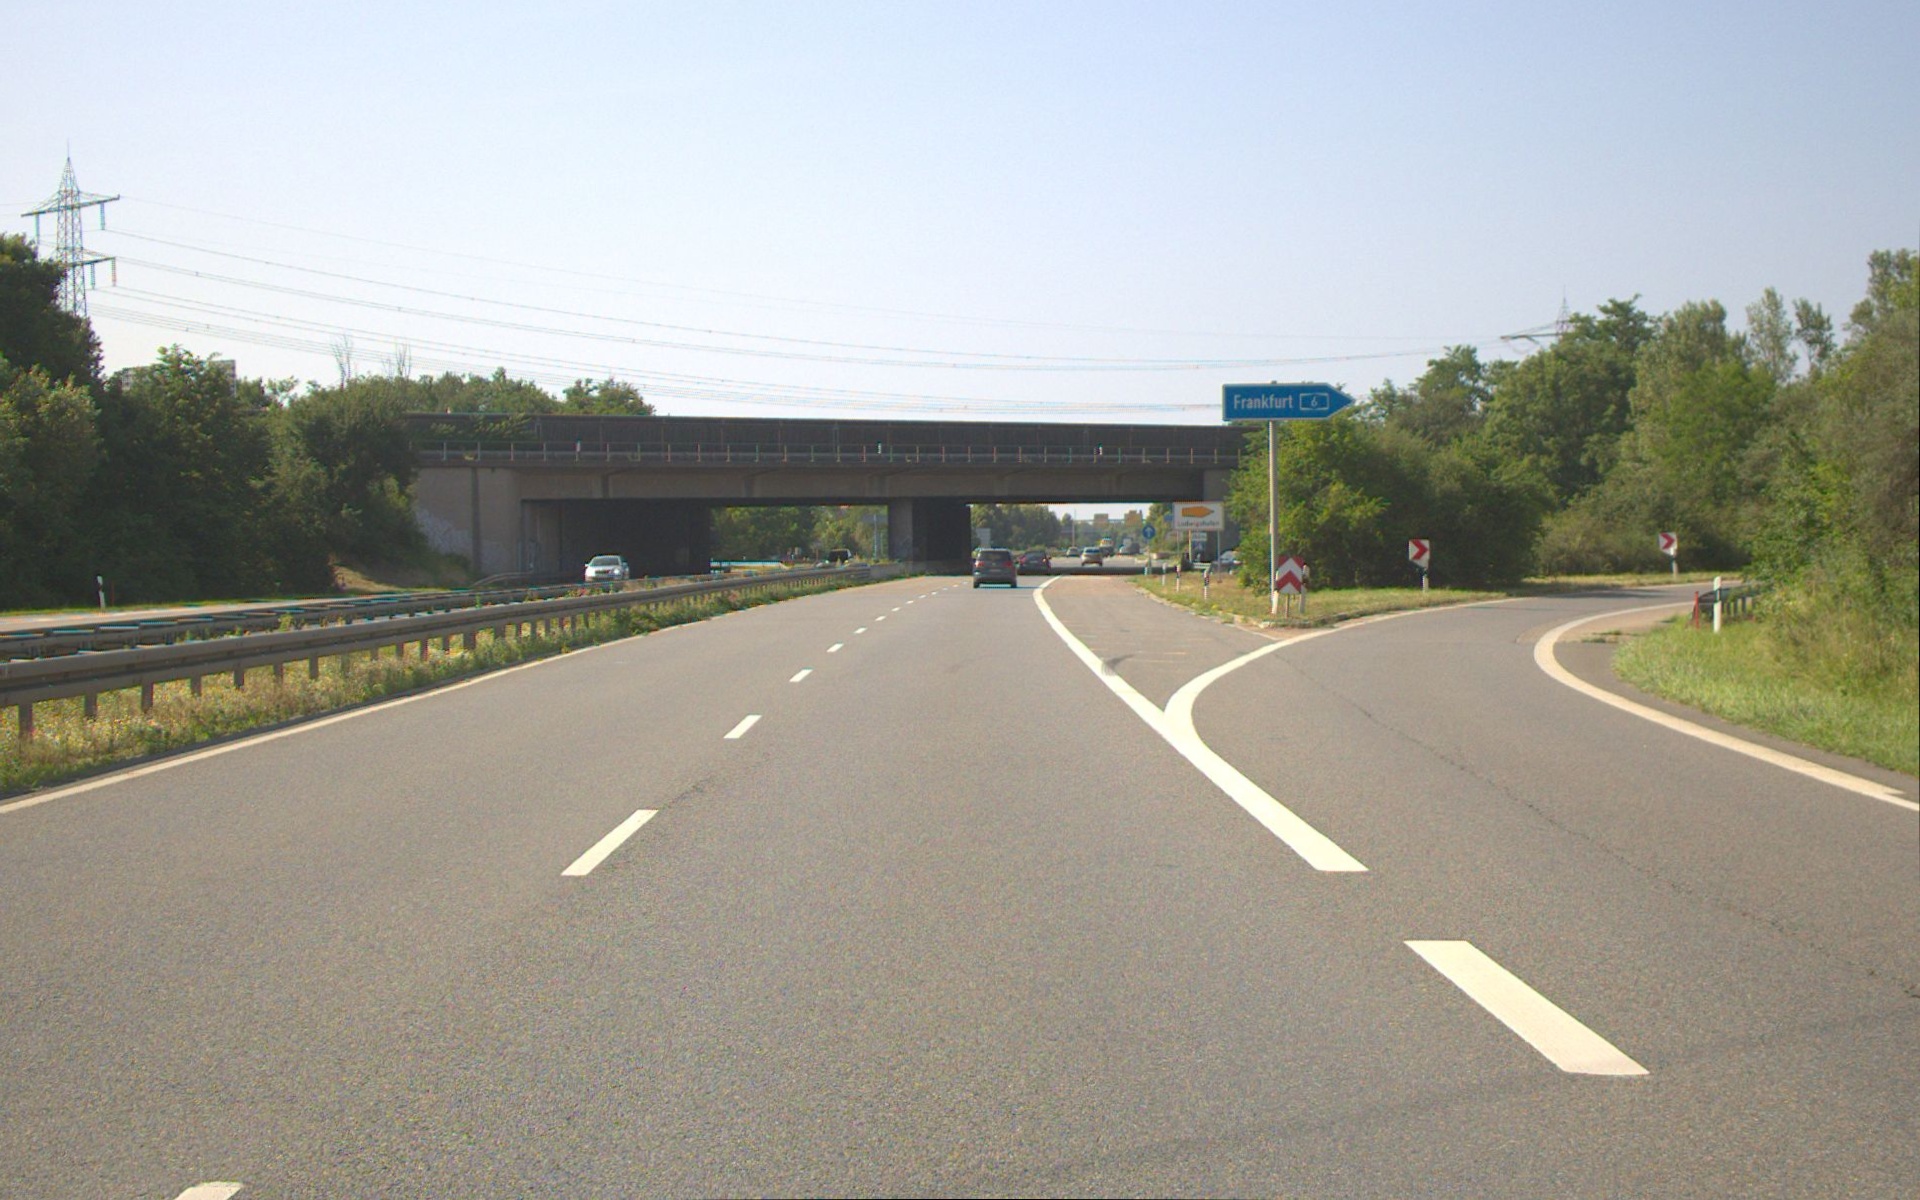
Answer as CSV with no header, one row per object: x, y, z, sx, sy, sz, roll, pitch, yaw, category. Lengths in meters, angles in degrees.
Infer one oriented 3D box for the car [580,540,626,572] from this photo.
-16.579,-2.064,159.751,1.674,1.405,3.763,1,1,1,car

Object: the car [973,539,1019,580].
1.504,-1.689,143.351,1.850,1.639,4.000,0,1,2,car

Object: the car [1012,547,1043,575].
4.066,-2.317,206.159,1.850,1.639,4.000,0,1,2,car
